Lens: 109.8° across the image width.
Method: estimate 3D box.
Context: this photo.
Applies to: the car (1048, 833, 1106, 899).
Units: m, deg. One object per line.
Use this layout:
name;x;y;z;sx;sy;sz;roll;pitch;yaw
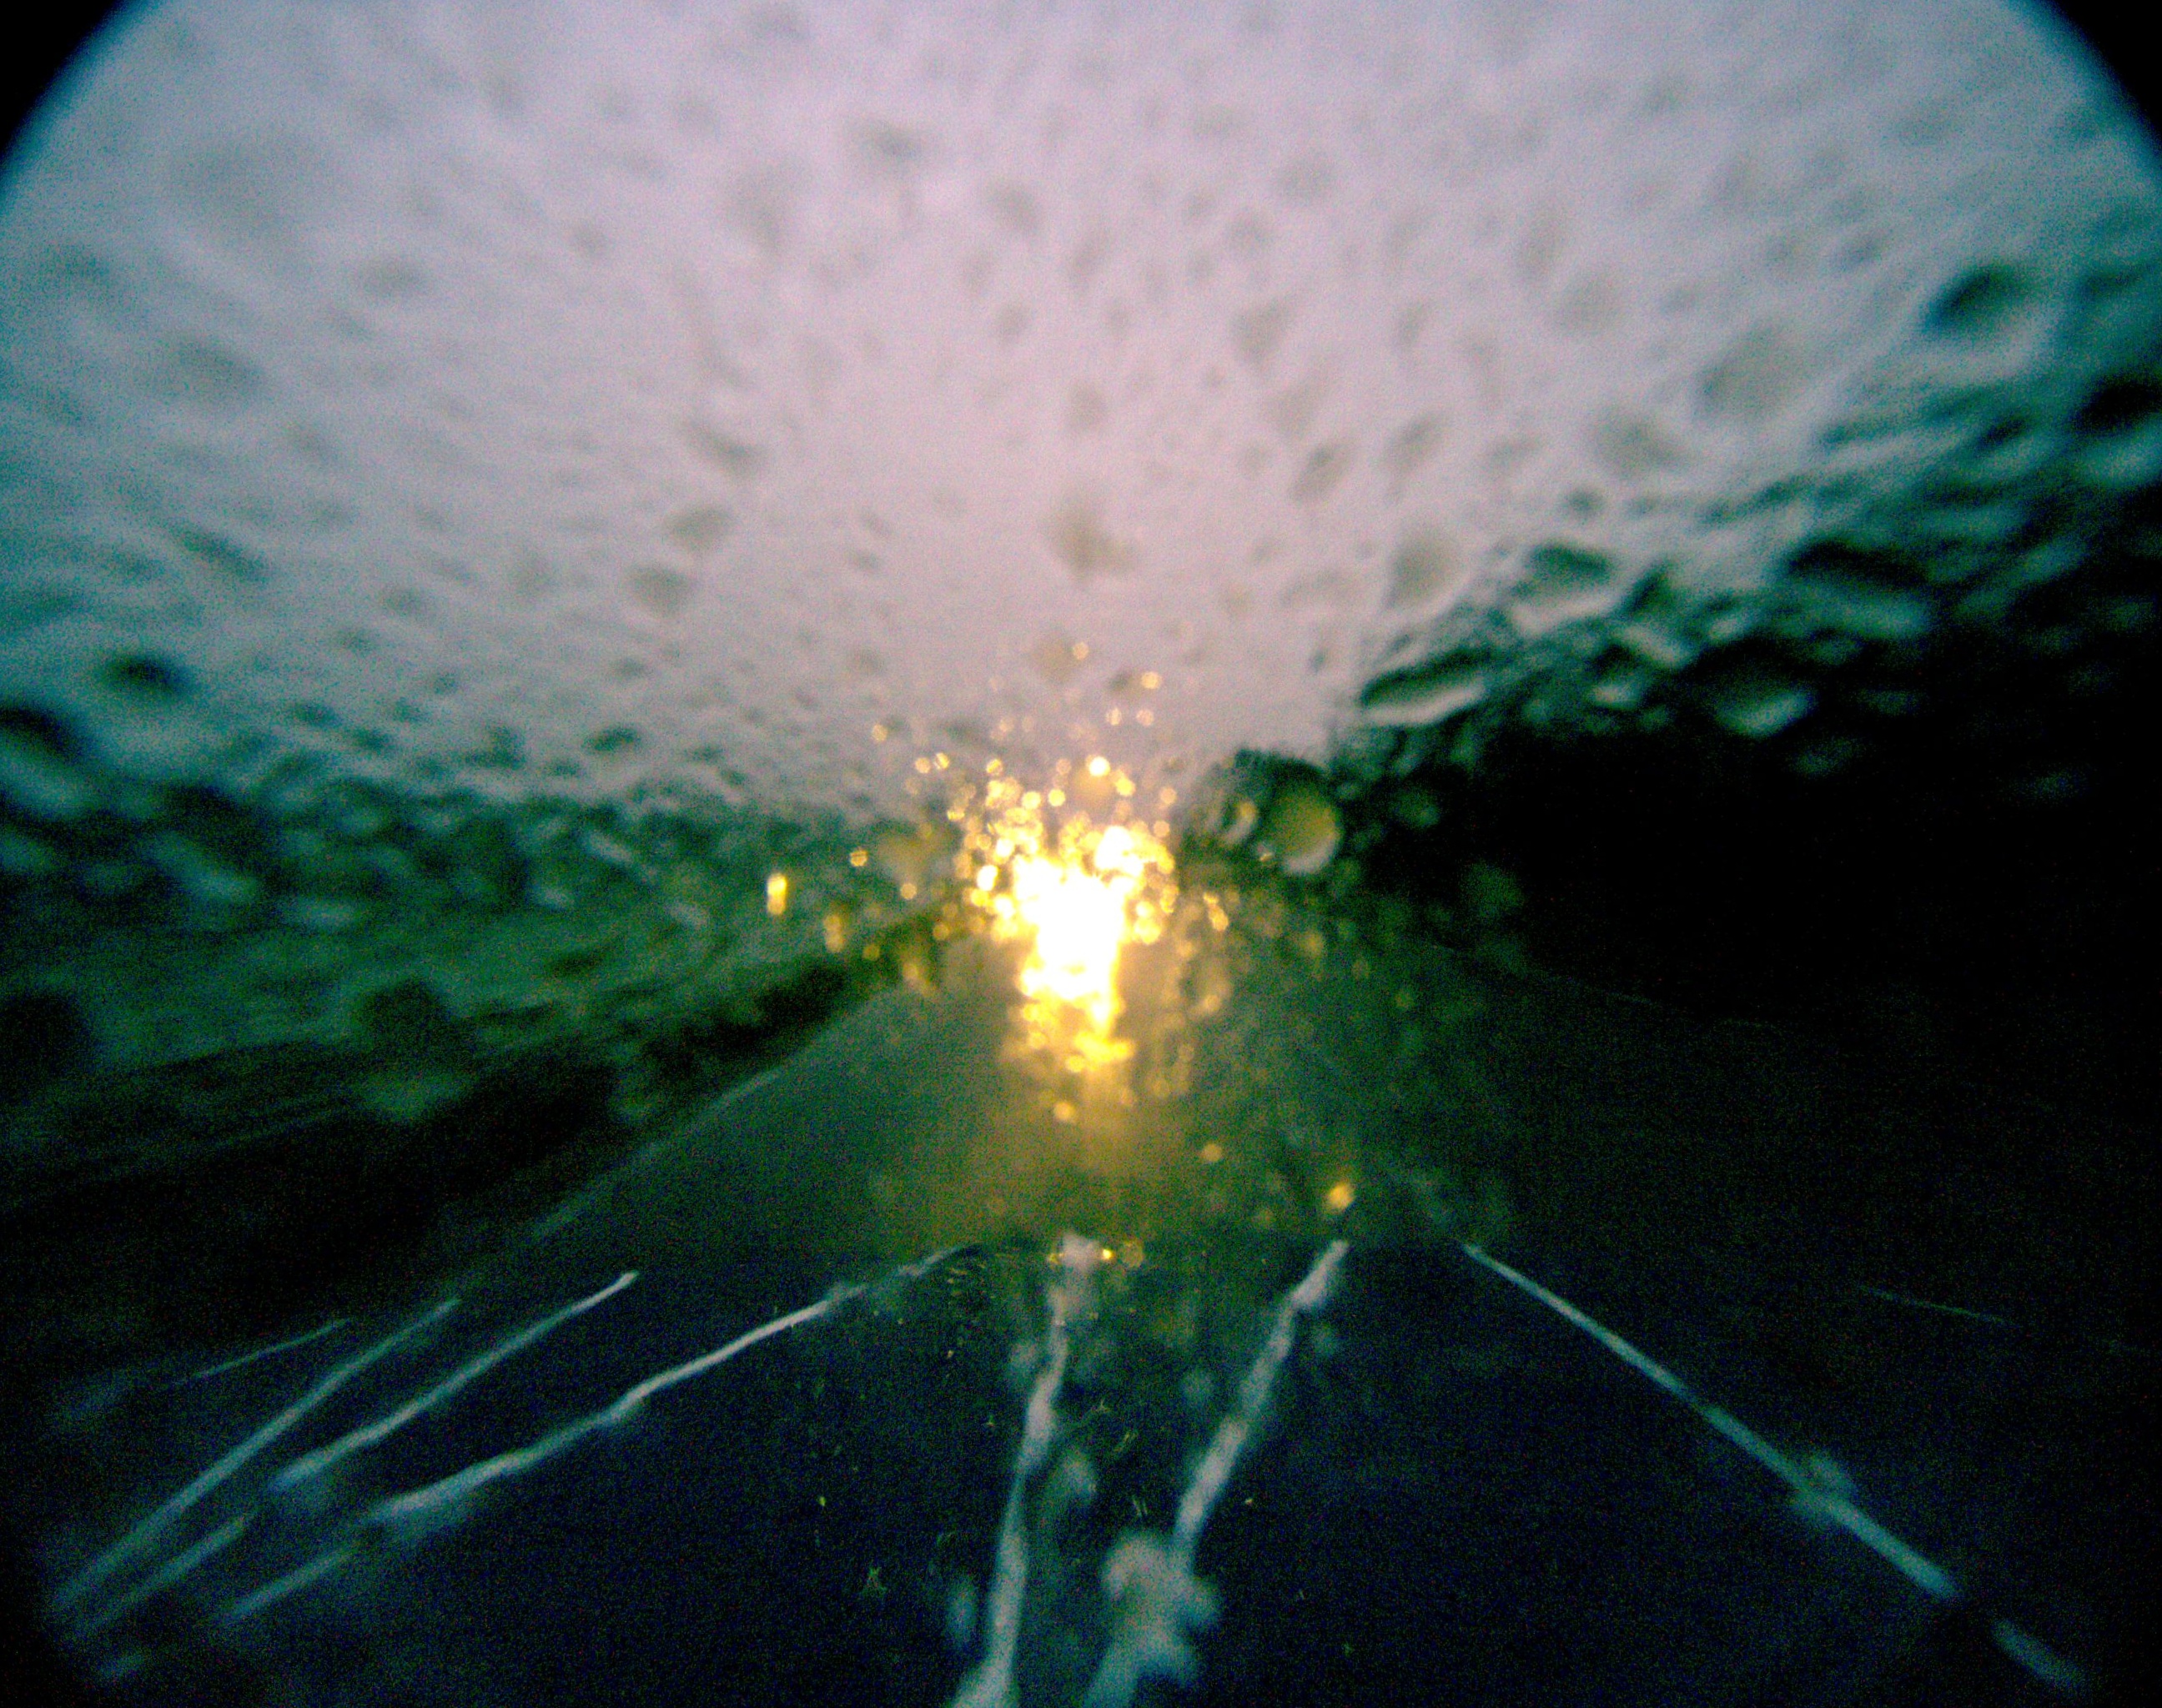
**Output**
car;-0.063;0.412;28.482;1.953;2.195;4.535;-2;0;2
